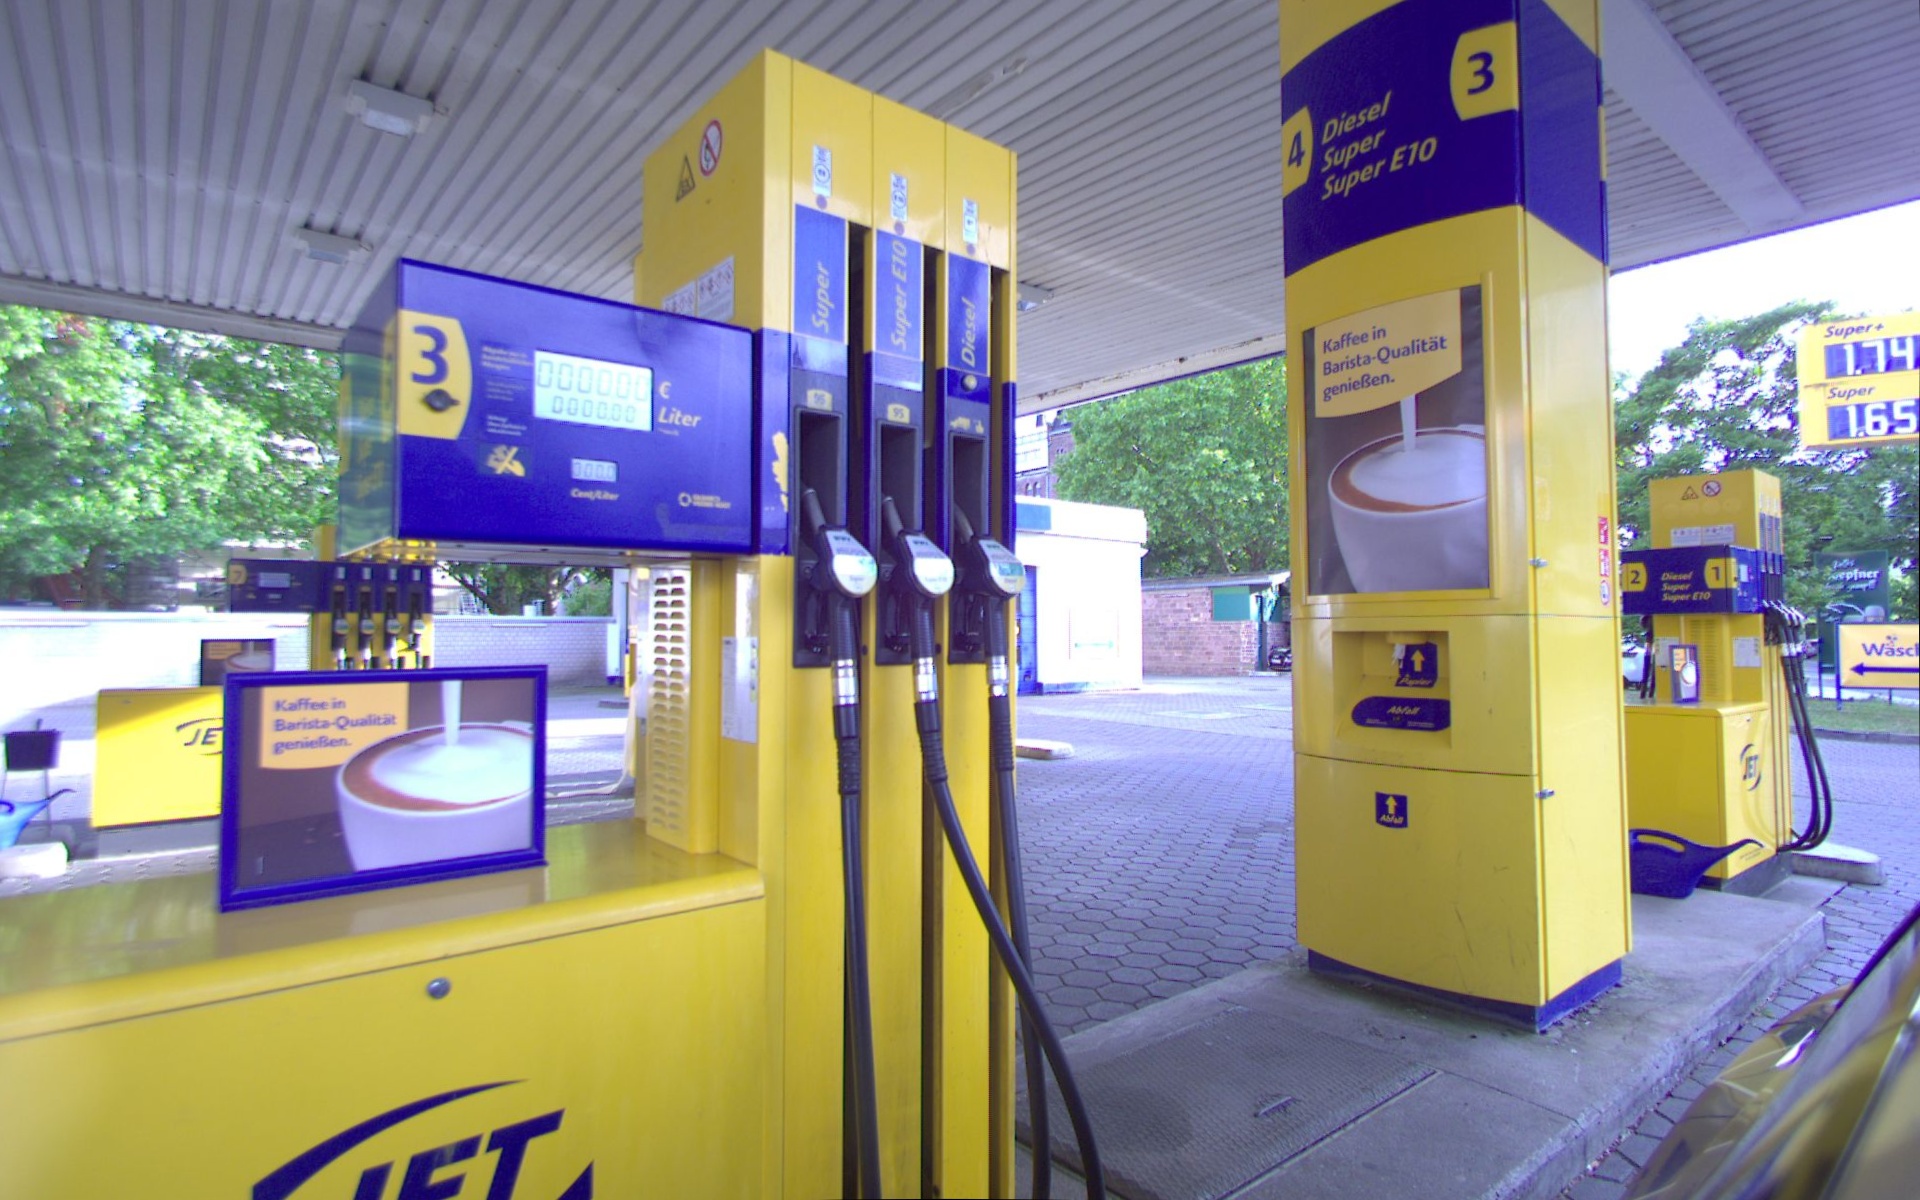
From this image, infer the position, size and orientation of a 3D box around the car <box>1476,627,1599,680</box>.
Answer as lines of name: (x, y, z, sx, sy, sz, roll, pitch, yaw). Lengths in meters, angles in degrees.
car: (17.564, 1.636, 30.757, 3.923, 1.529, 1.740, 3, -3, -35)

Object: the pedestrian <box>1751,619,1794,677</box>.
pedestrian: (29.351, 1.704, 36.563, 0.923, 2.040, 1.205, 0, -2, 25)

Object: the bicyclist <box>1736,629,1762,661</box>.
bicyclist: (37.299, 2.125, 47.865, 0.728, 1.479, 0.908, -2, -3, 26)

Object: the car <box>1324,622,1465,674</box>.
car: (13.797, 1.542, 32.156, 4.134, 1.544, 1.791, 2, -3, -24)

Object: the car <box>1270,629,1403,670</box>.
car: (12.837, 1.693, 34.505, 4.134, 1.294, 1.751, 2, -3, -22)

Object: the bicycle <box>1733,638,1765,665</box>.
bicycle: (37.320, 2.433, 47.899, 0.728, 1.274, 1.921, -2, -3, 25)

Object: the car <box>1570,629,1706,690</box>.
car: (18.229, 1.558, 27.169, 3.923, 1.529, 1.740, 2, -3, -35)
